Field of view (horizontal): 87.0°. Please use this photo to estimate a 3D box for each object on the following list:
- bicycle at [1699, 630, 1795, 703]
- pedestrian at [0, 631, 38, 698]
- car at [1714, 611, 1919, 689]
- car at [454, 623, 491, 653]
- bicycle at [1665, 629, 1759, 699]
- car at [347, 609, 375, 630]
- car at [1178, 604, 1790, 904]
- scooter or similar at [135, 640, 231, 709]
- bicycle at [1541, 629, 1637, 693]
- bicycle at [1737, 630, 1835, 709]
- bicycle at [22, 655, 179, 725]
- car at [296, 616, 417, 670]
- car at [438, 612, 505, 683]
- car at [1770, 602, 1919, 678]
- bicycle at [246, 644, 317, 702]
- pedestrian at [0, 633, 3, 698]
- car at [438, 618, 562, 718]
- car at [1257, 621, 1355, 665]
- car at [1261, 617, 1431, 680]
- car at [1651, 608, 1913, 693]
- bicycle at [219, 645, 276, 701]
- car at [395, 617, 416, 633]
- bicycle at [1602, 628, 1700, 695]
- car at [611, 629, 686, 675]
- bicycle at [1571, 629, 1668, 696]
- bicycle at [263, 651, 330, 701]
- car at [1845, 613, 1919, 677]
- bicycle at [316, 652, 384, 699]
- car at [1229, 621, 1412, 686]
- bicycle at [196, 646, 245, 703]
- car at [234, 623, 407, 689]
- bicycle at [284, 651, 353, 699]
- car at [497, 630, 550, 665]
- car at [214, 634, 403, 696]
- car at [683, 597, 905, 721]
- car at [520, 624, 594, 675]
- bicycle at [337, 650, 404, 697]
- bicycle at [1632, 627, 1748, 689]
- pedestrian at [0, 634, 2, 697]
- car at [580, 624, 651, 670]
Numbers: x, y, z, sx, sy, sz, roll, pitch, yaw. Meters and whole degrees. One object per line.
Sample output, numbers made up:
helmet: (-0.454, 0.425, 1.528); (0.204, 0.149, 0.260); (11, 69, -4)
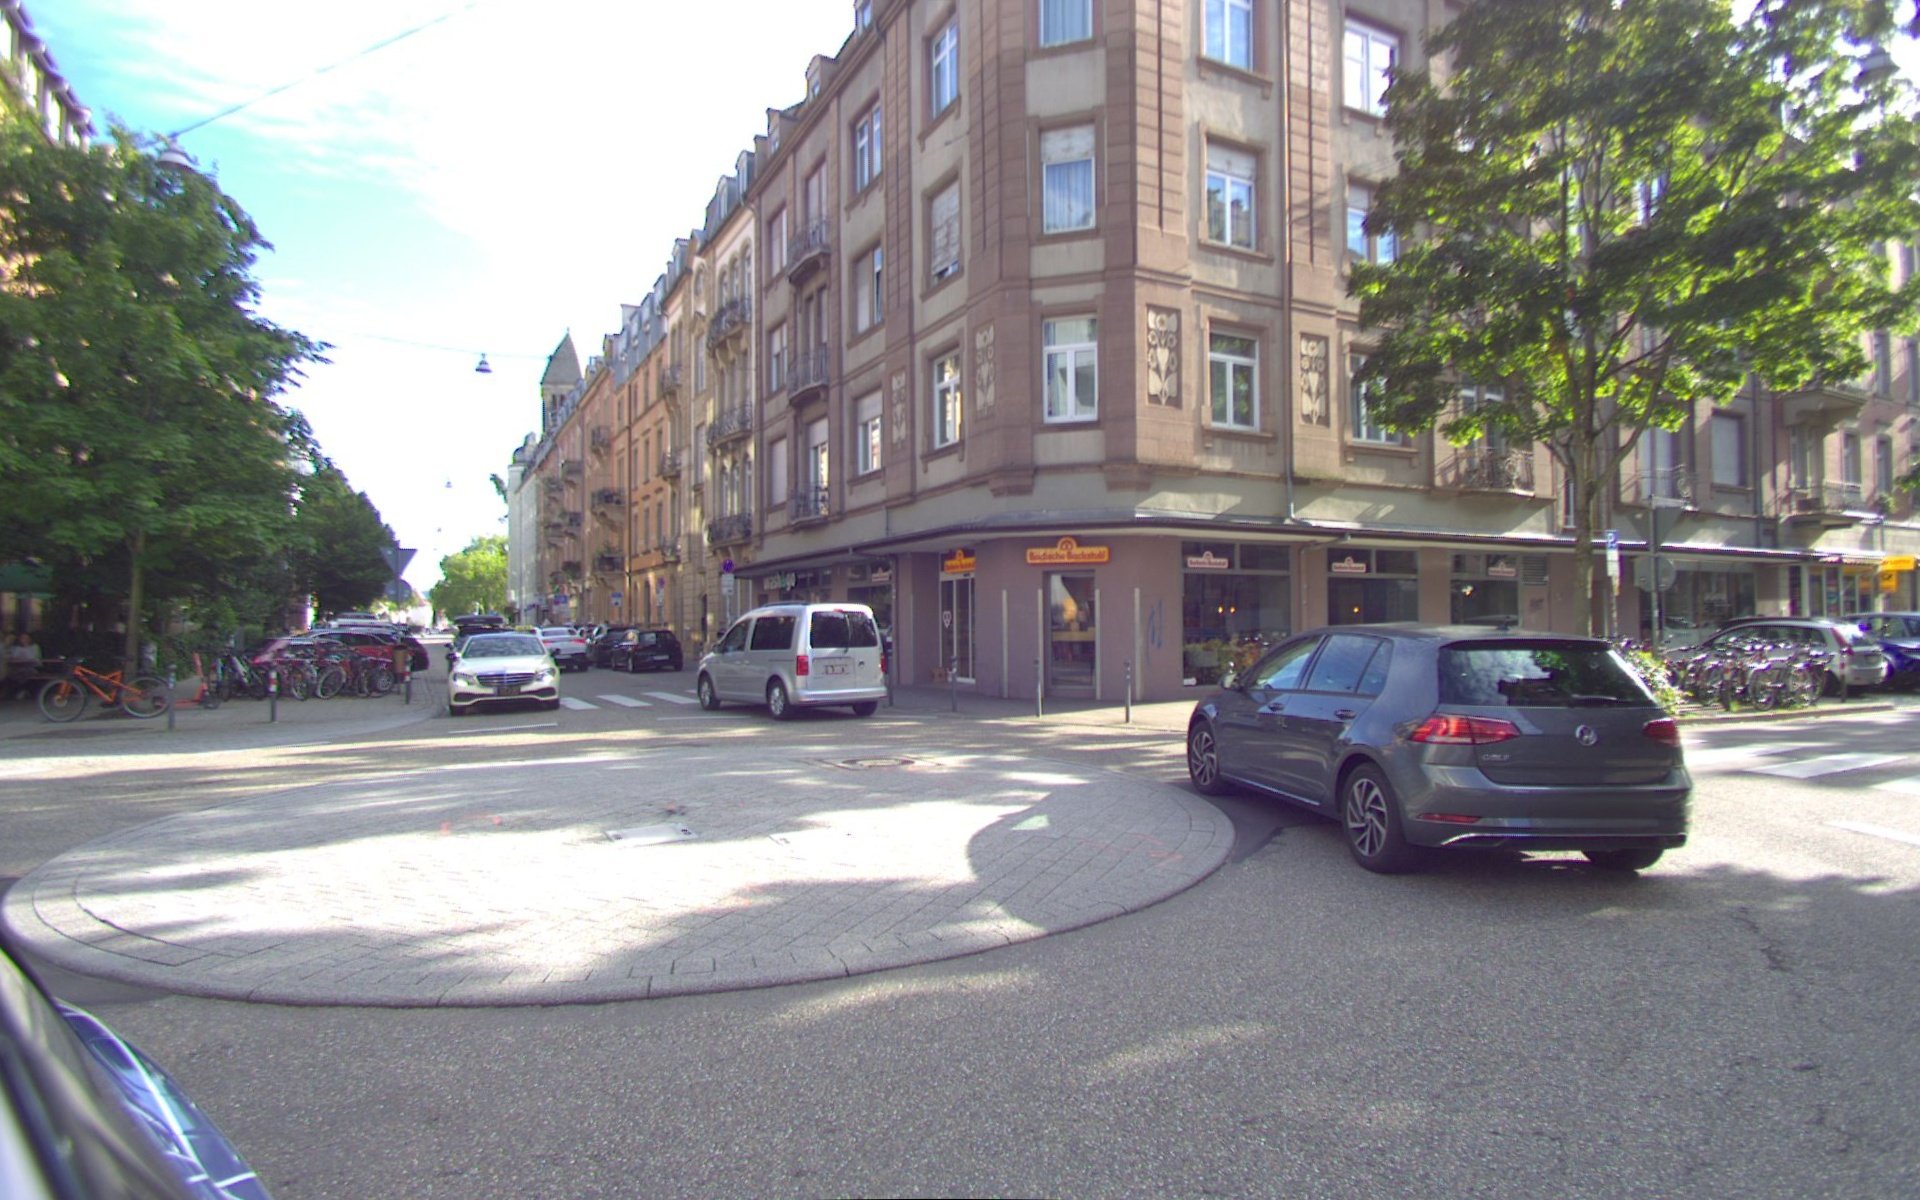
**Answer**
bicycle: (13.324, 1.091, 17.120); (2.252, 1.166, 0.480); (1, -2, -31)
pedestrian: (-19.297, 1.314, 20.755); (0.621, 1.337, 0.461); (-1, -2, 38)
car: (18.551, 1.012, 21.212); (1.550, 1.488, 4.087); (-1, -1, -27)
car: (-33.201, 2.600, 68.867); (1.912, 1.894, 4.851); (-1, -1, -30)
bicycle: (13.074, 1.085, 17.577); (2.225, 1.143, 0.480); (1, -2, -31)
car: (-52.315, 1.717, 88.367); (1.820, 1.747, 4.010); (-1, -1, -34)
car: (3.058, 0.801, 7.001); (1.769, 1.449, 4.006); (1, -1, -7)
scooter or similar: (-14.168, 1.358, 18.481); (1.275, 1.220, 0.556); (0, -4, 0)
bicycle: (11.872, 1.126, 19.080); (2.390, 1.143, 0.480); (1, -2, -31)
bicycle: (13.628, 1.117, 16.678); (2.254, 1.234, 0.480); (1, -2, -31)
bicycle: (-13.910, 1.433, 16.449); (1.825, 1.043, 0.686); (1, -2, -29)
car: (-29.519, 2.071, 49.654); (1.991, 2.441, 4.692); (-3, -1, 29)
car: (-15.343, 1.459, 31.830); (1.763, 2.079, 4.013); (0, -2, -26)
car: (20.634, 0.868, 22.531); (1.550, 1.608, 3.710); (-1, -1, -27)
bicycle: (-14.416, 1.529, 21.495); (1.832, 1.152, 0.470); (0, -3, 31)
pedestrian: (-20.001, 1.338, 20.731); (0.621, 1.337, 0.461); (-1, -2, 38)
car: (-8.808, 1.240, 19.672); (1.911, 1.609, 4.851); (-2, -2, -22)
car: (13.902, 1.698, 40.643); (3.570, 1.578, 1.584); (-1, -1, -26)
car: (10.559, 1.309, 27.905); (1.738, 1.563, 4.008); (-1, -1, -38)
car: (16.340, 0.977, 20.320); (1.550, 1.488, 3.710); (-1, -1, -27)
bicycle: (-15.021, 1.516, 21.329); (1.672, 1.109, 0.469); (-1, -3, 37)
car: (-66.431, 3.013, 121.340); (1.965, 1.903, 4.013); (-1, -1, -26)
bicycle: (12.455, 1.085, 18.215); (2.390, 1.143, 0.480); (1, -2, -31)
car: (-10.527, 1.725, 34.052); (1.695, 1.379, 3.841); (-1, -1, -28)
bicycle: (12.149, 1.125, 18.616); (2.390, 1.143, 0.480); (0, -2, -31)
bicycle: (-14.329, 1.625, 21.843); (1.832, 0.993, 0.413); (0, -3, 31)
car: (22.691, 1.040, 23.192); (1.353, 1.454, 3.349); (2, -3, -27)
bicycle: (-13.817, 1.689, 22.925); (1.858, 0.993, 0.467); (0, -3, 31)
car: (9.010, 1.320, 25.539); (1.738, 1.441, 4.008); (-1, -1, -38)
bicycle: (-15.301, 1.518, 20.925); (1.674, 1.109, 0.428); (-1, -3, 42)
car: (-16.931, 1.489, 26.909); (1.511, 1.628, 3.541); (-1, -4, 38)
bicycle: (-14.148, 1.643, 22.313); (1.858, 0.993, 0.467); (0, -3, 31)
car: (-19.694, 2.113, 45.579); (1.740, 1.392, 4.465); (-2, 0, -29)
car: (-15.755, 1.570, 24.625); (1.510, 1.391, 3.543); (-1, -4, 36)
car: (-2.910, 0.946, 16.998); (1.805, 1.804, 4.339); (1, -3, -38)
car: (-14.446, 1.759, 36.153); (1.965, 1.647, 4.859); (0, -3, -28)
bicycle: (-13.573, 1.680, 23.300); (1.858, 0.993, 0.467); (0, -3, 31)
bicycle: (13.714, 1.066, 18.997); (2.470, 1.110, 0.710); (1, -3, -28)
pedestrian: (-19.382, 1.303, 20.010); (0.621, 1.241, 0.541); (-1, -2, 38)
car: (-13.117, 1.727, 38.339); (1.831, 1.596, 4.412); (-1, -1, -28)
